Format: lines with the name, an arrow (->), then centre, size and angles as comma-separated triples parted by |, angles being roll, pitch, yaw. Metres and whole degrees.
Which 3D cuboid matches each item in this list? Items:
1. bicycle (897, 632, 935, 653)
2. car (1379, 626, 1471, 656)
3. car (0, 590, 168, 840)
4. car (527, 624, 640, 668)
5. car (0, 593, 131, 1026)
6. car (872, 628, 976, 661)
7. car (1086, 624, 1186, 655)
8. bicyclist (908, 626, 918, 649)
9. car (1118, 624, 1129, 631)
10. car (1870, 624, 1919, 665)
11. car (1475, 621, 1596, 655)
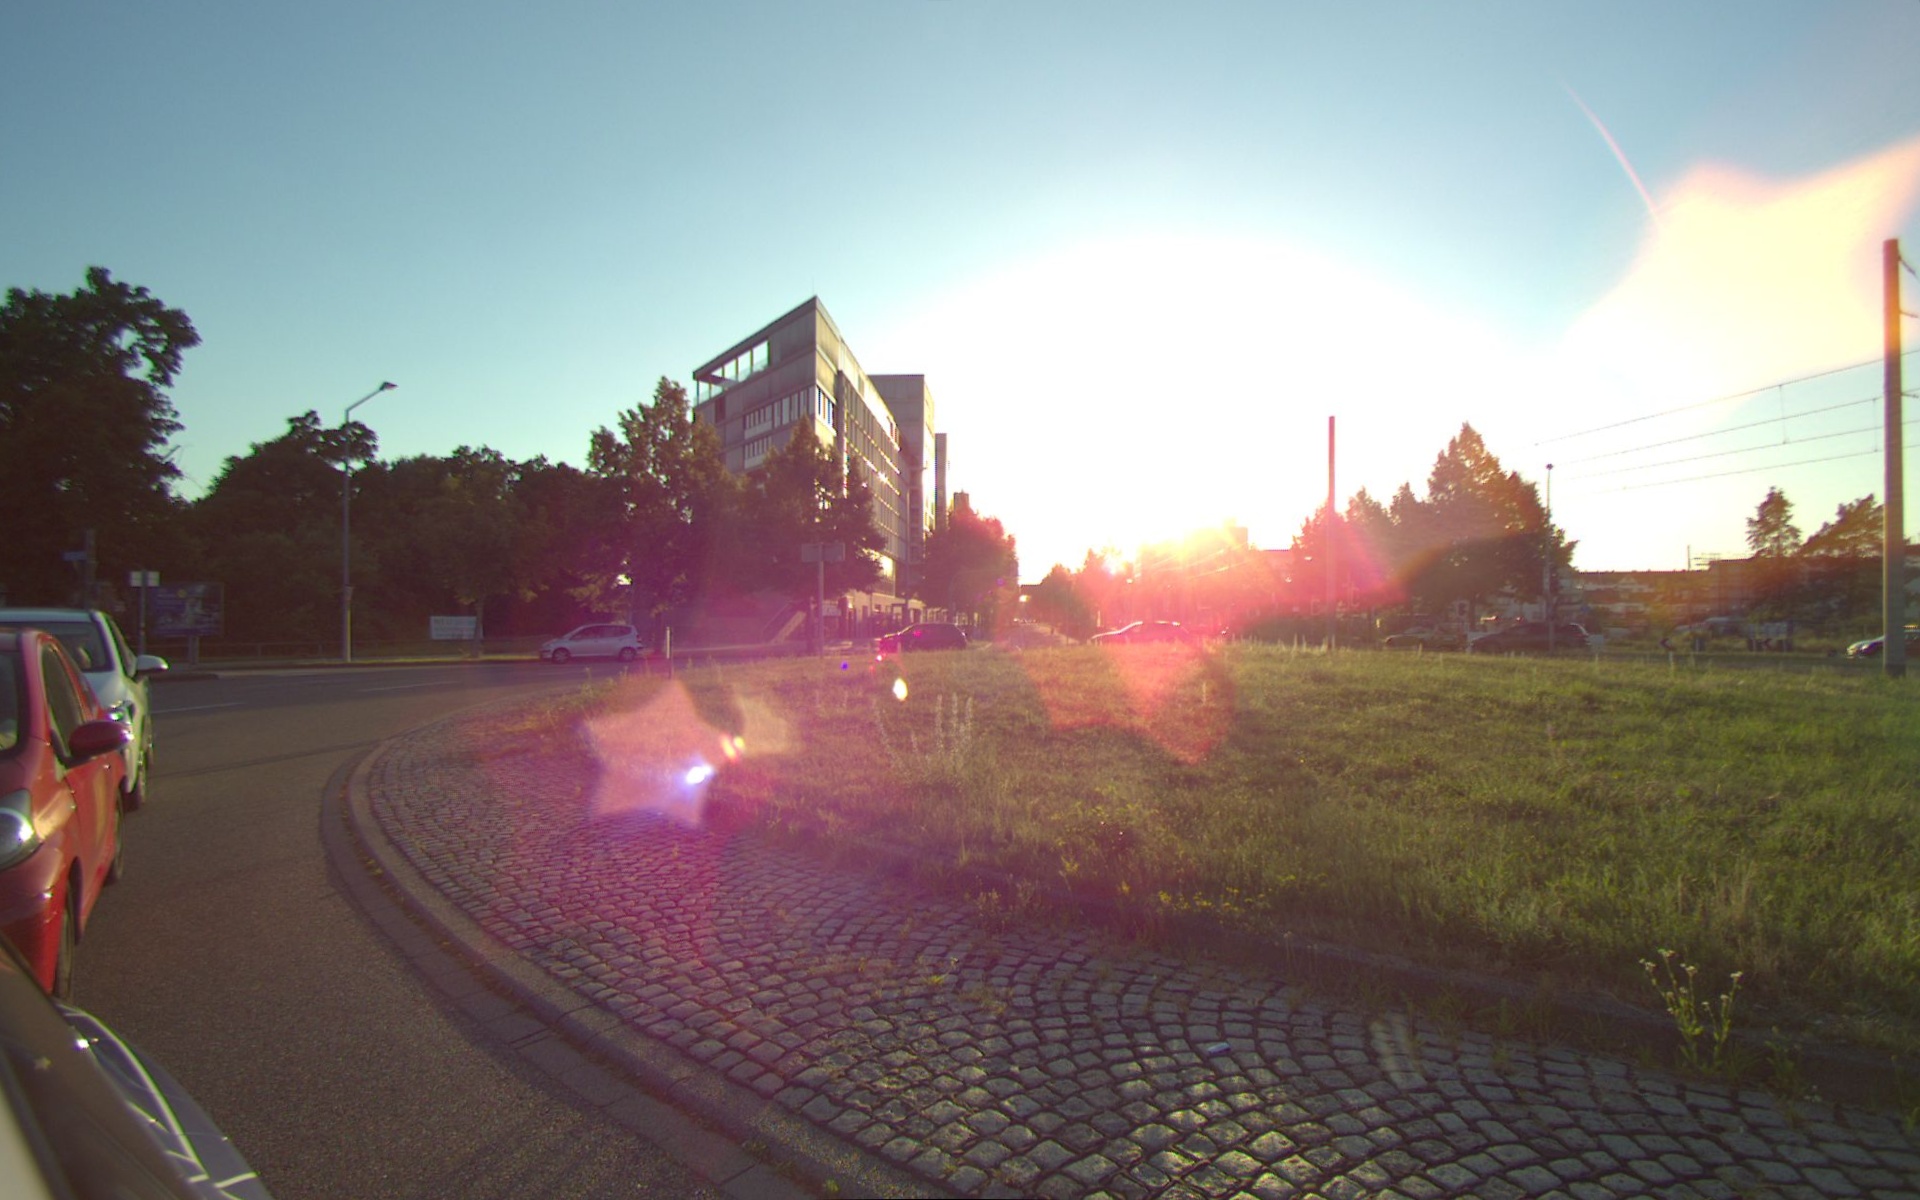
bicycle -> -2.721, 2.650, 63.070 | 2.315, 1.254, 0.742 | 0, -1, 0
car -> 26.128, 2.270, 57.018 | 1.965, 1.591, 4.500 | 0, -1, -24
car -> -7.737, 0.778, 7.974 | 1.970, 1.618, 4.202 | 1, -2, -43
car -> -14.453, 1.724, 38.873 | 3.825, 1.592, 1.960 | 0, -1, -29
car -> -4.901, 0.720, 4.559 | 1.662, 1.431, 4.008 | 1, -1, -38
car -> -1.651, 1.955, 45.144 | 4.311, 1.386, 2.005 | 0, -1, -13
car -> 8.189, 1.824, 47.396 | 4.292, 1.386, 1.999 | 0, -1, 1
bicyclist -> -2.901, 2.326, 63.093 | 0.602, 1.451, 0.692 | 0, -1, -2
car -> 34.379, 5.770, 212.370 | 1.975, 1.539, 4.338 | 0, -1, 6
car -> 33.940, 1.510, 34.091 | 1.863, 1.402, 4.511 | 0, -1, -30
car -> 24.693, 1.595, 43.490 | 4.373, 1.386, 1.977 | -1, -1, 34
